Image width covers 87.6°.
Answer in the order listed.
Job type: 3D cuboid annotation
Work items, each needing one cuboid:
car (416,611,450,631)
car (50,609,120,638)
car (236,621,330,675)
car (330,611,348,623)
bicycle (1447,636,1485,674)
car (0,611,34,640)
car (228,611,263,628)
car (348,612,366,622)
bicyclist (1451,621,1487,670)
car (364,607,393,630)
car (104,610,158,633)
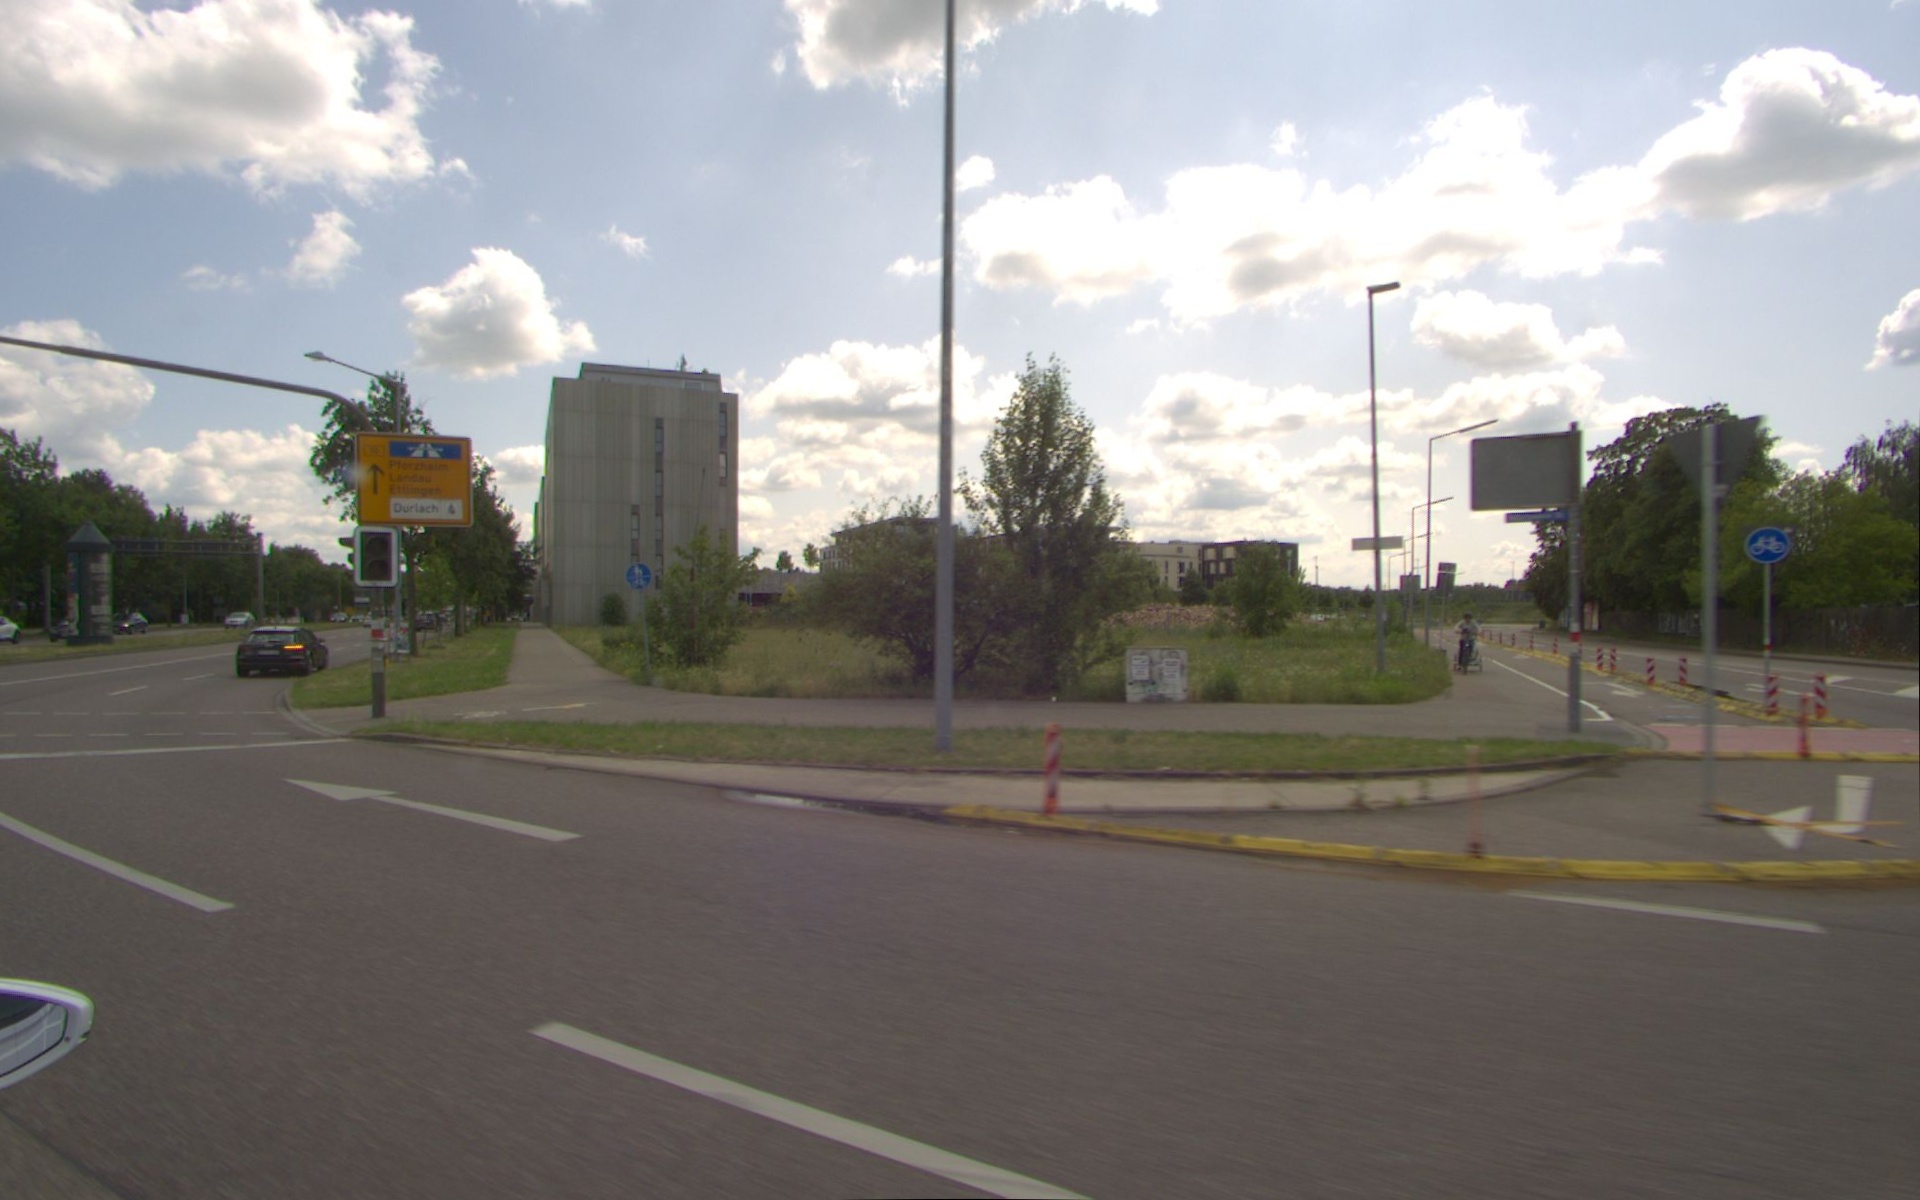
[{"bbox_3d":[-44.335,1.778,84.372,1.966,1.647,4.298,1,-1,-20],"label":"car"},{"bbox_3d":[-51.738,1.363,59.317,1.700,1.612,4.995,0,0,-24],"label":"car"},{"bbox_3d":[-20.349,1.409,30.236,1.663,1.482,3.986,2,-2,-25],"label":"car"},{"bbox_3d":[-89.250,2.446,143.898,1.719,1.590,4.259,-1,0,-25],"label":"car"},{"bbox_3d":[14.290,1.551,28.236,0.862,1.030,2.535,0,-3,29],"label":"bicycle"},{"bbox_3d":[-52.485,1.371,54.380,1.885,1.561,4.353,0,0,-24],"label":"car"},{"bbox_3d":[-64.943,1.776,91.045,1.740,1.459,4.294,0,0,-23],"label":"car"},{"bbox_3d":[-97.767,2.789,162.391,1.718,1.566,4.558,-1,0,-23],"label":"car"},{"bbox_3d":[14.407,1.287,28.347,0.863,1.341,0.809,0,-2,30],"label":"bicyclist"},{"bbox_3d":[-54.956,1.757,94.680,1.970,2.039,3.984,2,-2,-26],"label":"car"},{"bbox_3d":[-61.512,1.572,74.375,1.740,1.598,5.013,0,0,-24],"label":"car"}]
